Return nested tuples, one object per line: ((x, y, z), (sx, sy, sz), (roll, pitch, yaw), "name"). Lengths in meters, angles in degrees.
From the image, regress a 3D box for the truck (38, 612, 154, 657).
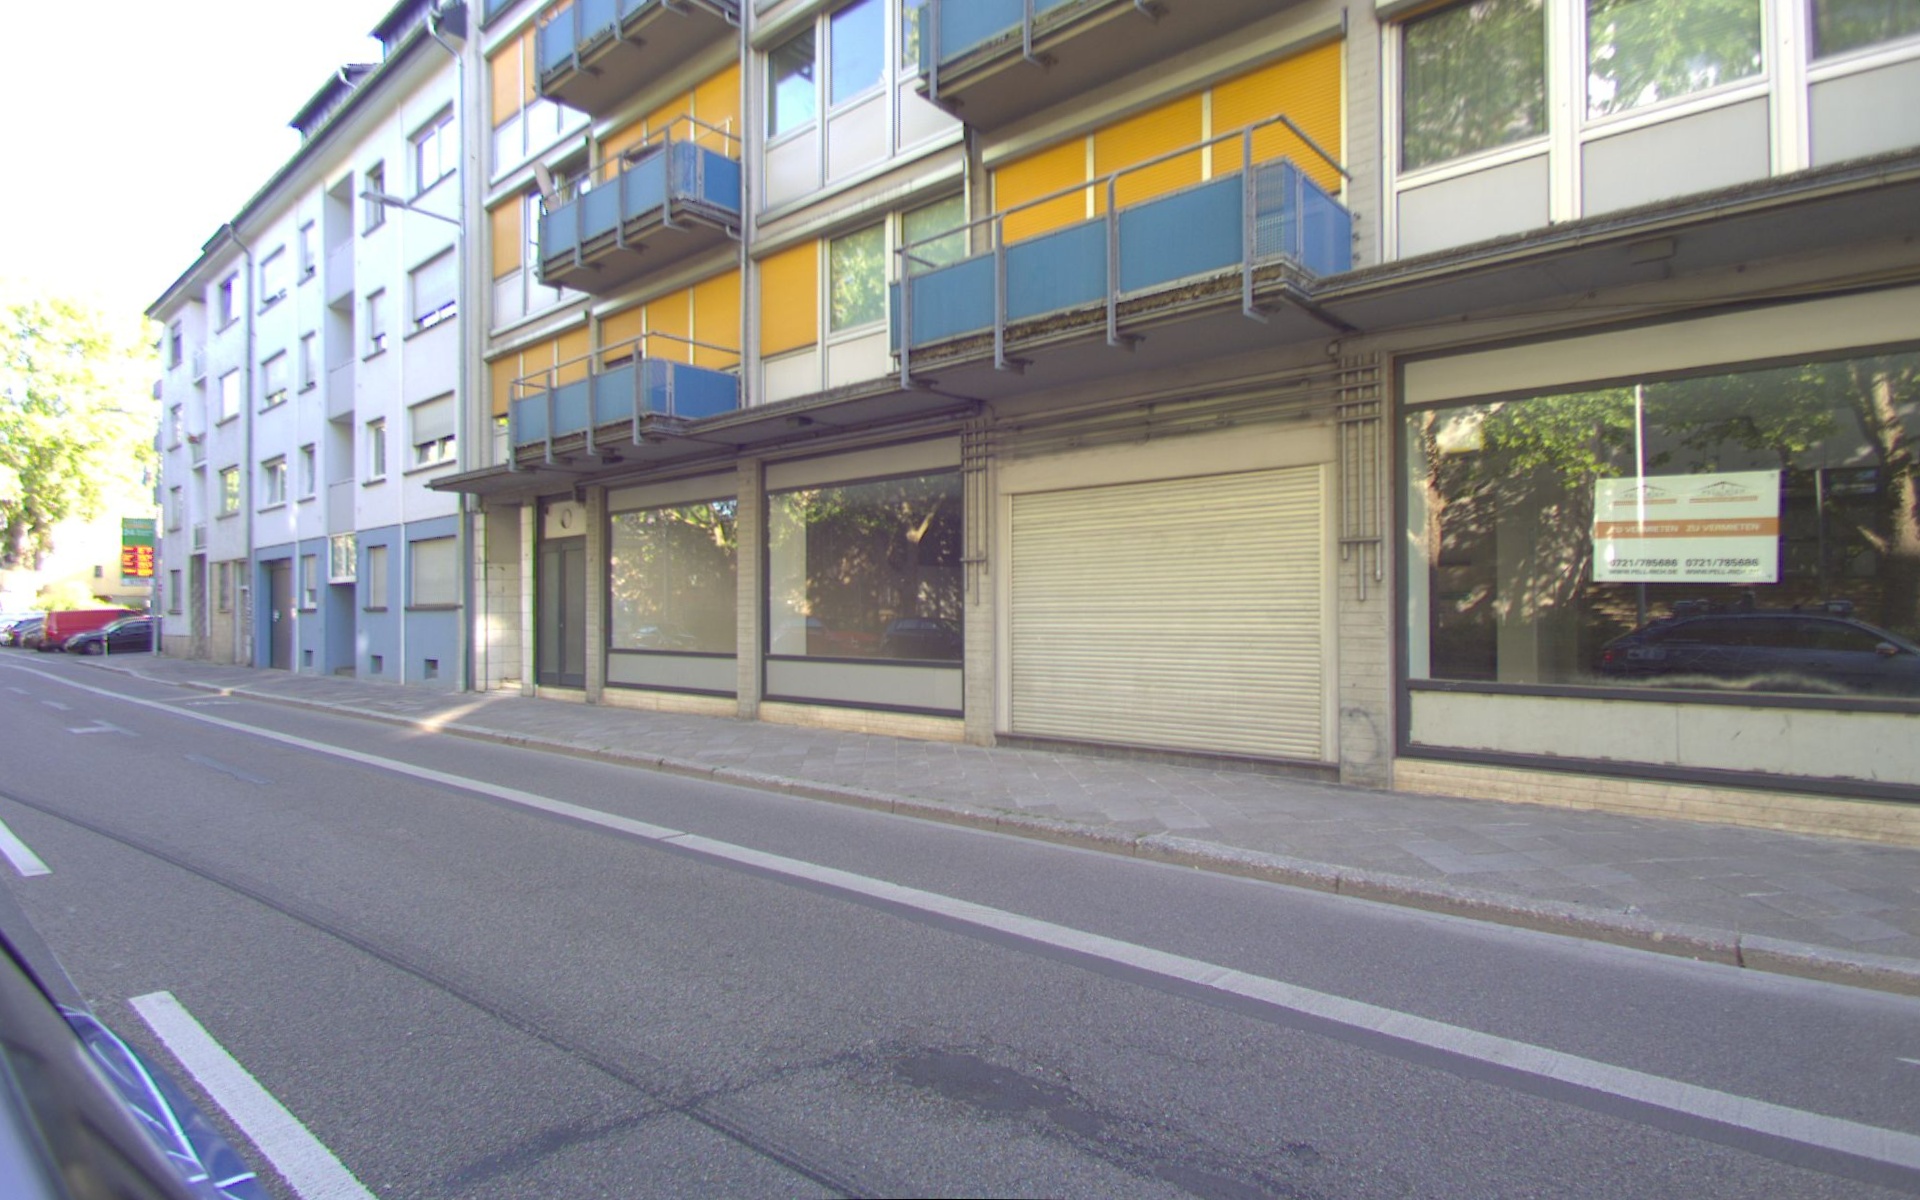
((-40.498, 1.574, 47.493), (1.761, 1.951, 3.944), (-1, 0, 42), "truck")

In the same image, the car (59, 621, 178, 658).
((-38.107, 1.761, 45.902), (1.761, 1.514, 3.944), (-1, 0, 42), "car")

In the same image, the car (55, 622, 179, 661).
((-36.627, 1.765, 44.014), (1.761, 1.468, 3.944), (-1, 0, 42), "car")

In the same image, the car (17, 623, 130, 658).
((-42.908, 1.906, 49.041), (1.761, 1.514, 3.944), (-1, 0, 42), "car")
